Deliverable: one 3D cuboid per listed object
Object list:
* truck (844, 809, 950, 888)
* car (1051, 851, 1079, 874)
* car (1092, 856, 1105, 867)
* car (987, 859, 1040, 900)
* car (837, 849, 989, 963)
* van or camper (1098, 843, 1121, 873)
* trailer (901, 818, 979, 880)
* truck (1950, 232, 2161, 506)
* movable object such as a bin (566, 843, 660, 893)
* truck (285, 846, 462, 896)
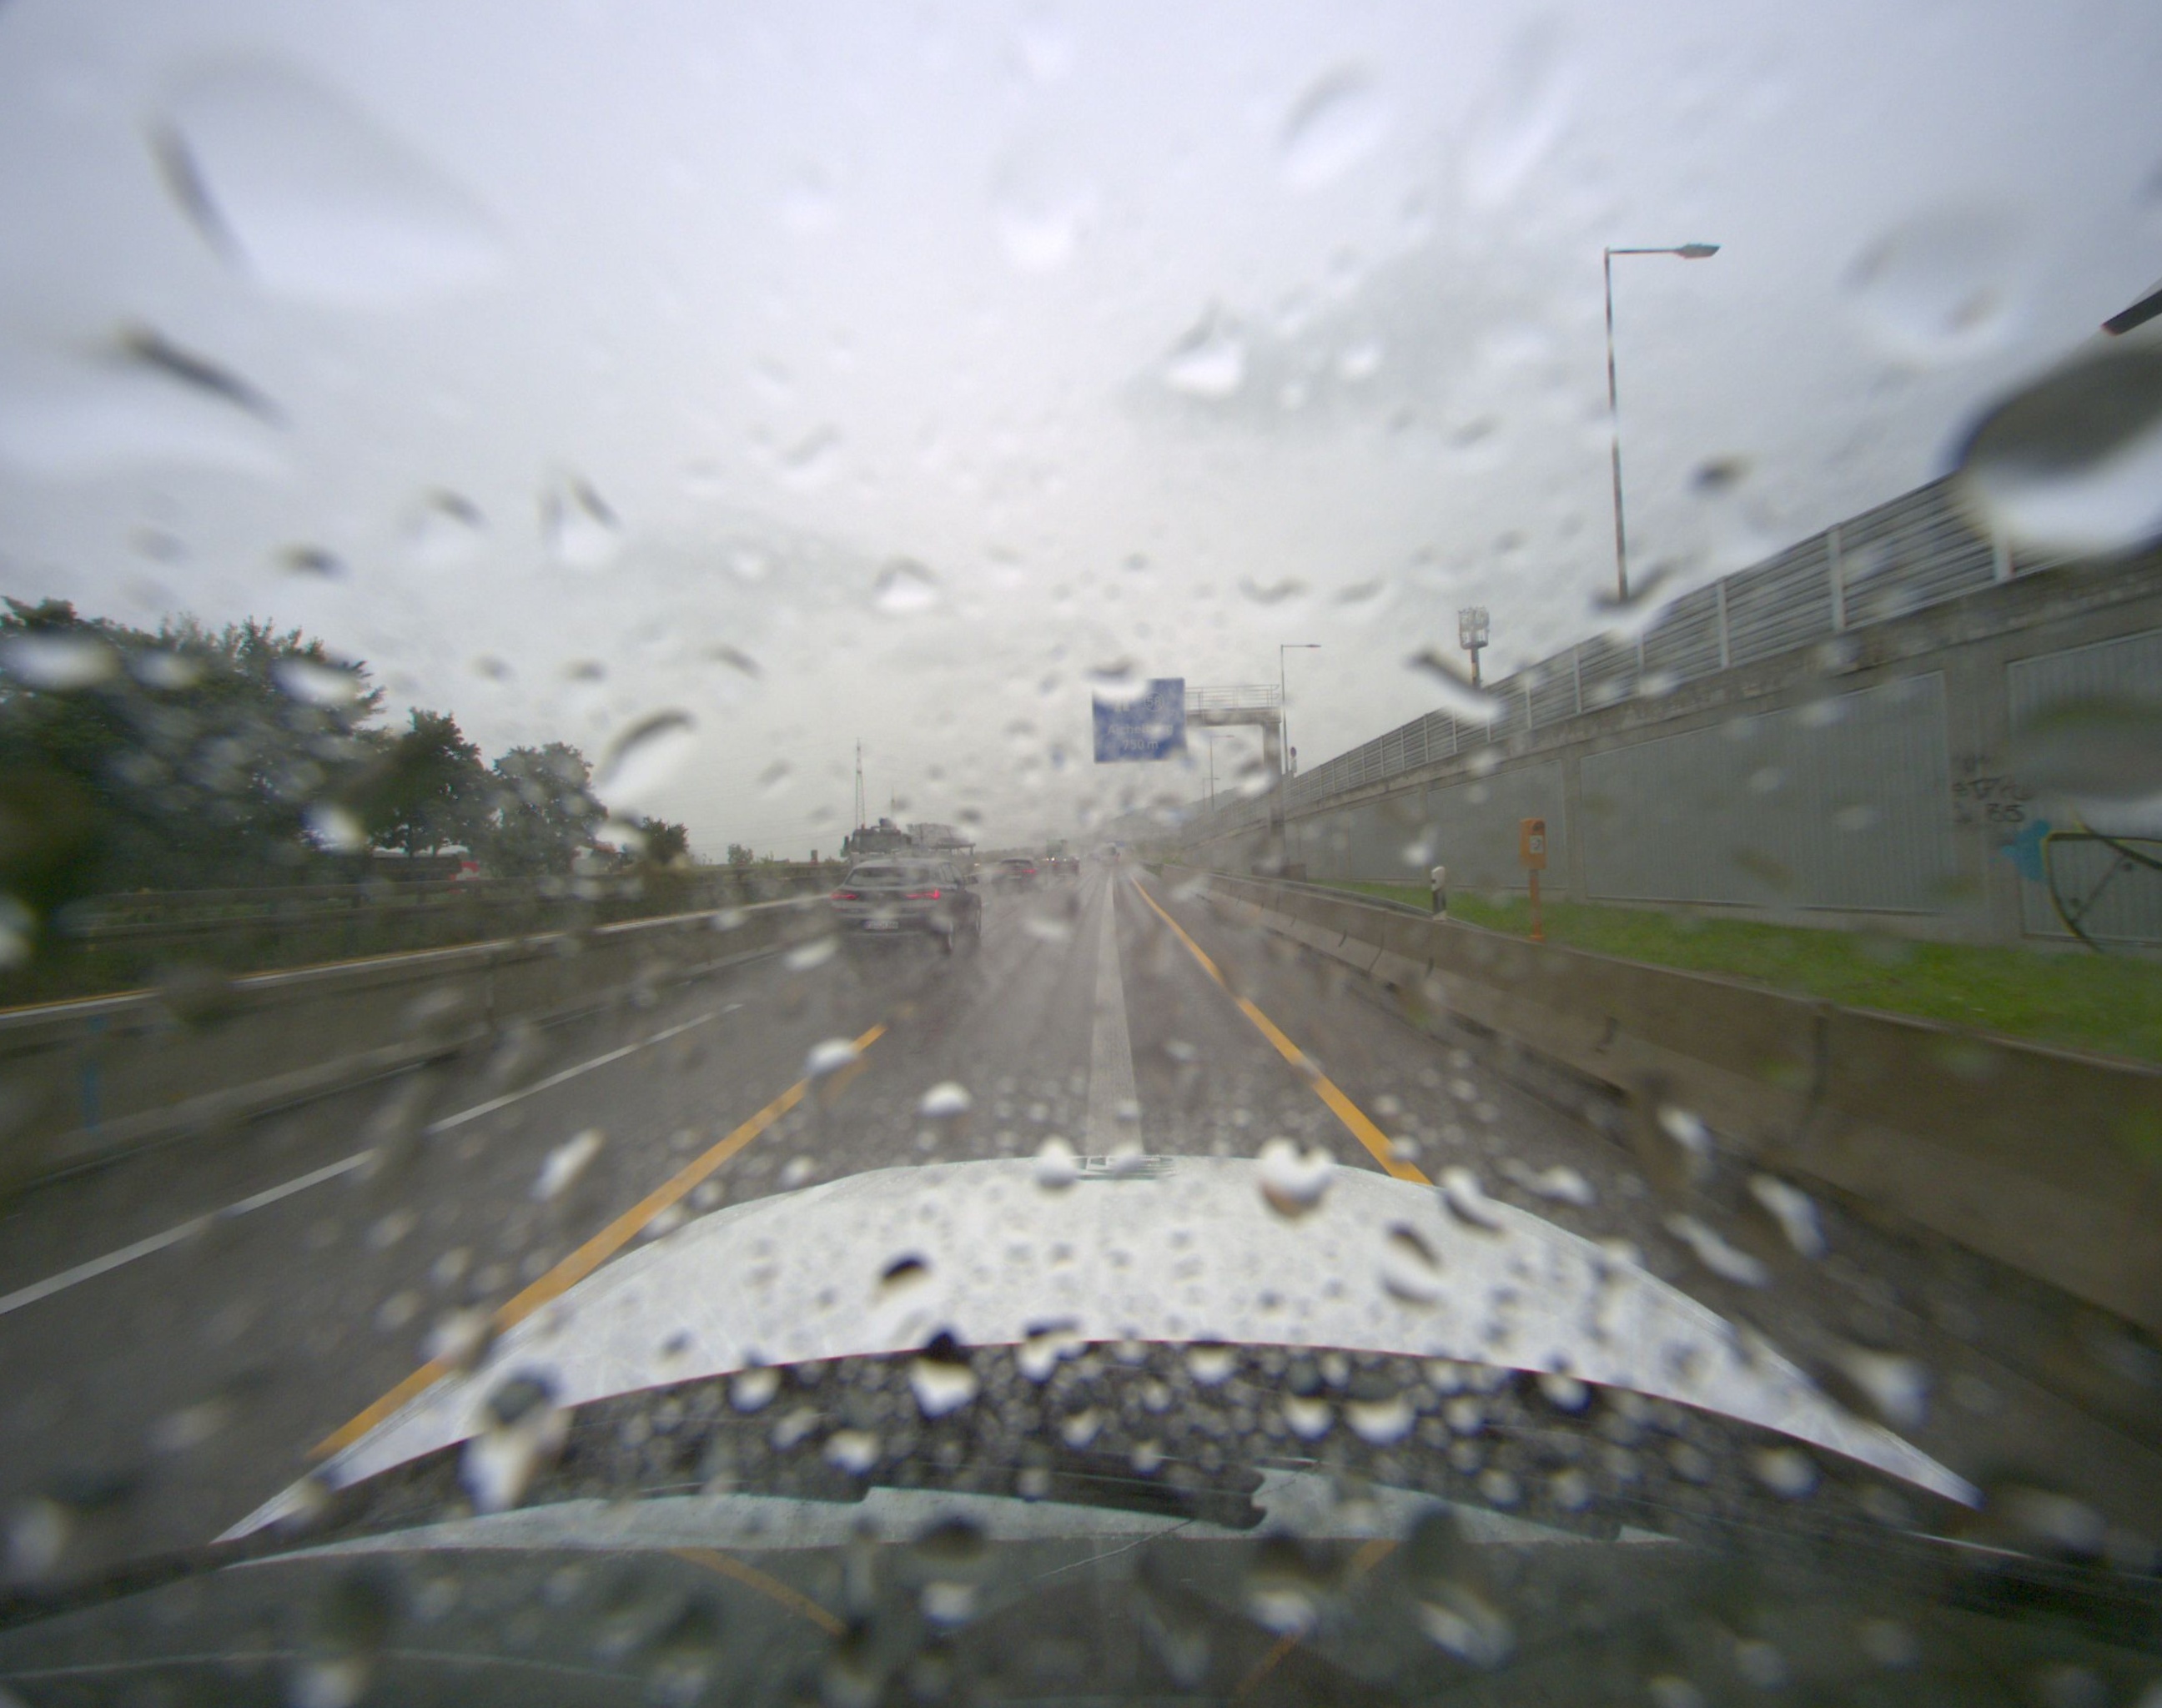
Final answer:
[{"bbox_3d":[-8.688,-0.231,39.794,2.629,3.347,9.558,-1,0,2],"label":"truck"},{"bbox_3d":[-1.153,0.577,58.598,1.839,1.491,4.259,-4,0,-1],"label":"car"},{"bbox_3d":[2.662,1.111,122.505,1.564,1.480,2.817,-4,-2,-4],"label":"car"},{"bbox_3d":[-2.621,0.998,32.517,1.839,1.491,4.259,-1,-1,-1],"label":"car"},{"bbox_3d":[-2.667,0.795,14.053,1.696,1.598,4.842,-1,-1,-1],"label":"car"},{"bbox_3d":[2.774,0.425,80.581,1.990,2.777,4.047,-1,-1,-1],"label":"van or camper"},{"bbox_3d":[-8.334,-0.275,49.450,2.651,3.362,9.720,-1,0,2],"label":"trailer"},{"bbox_3d":[12.888,-5.840,9.130,1.986,2.014,4.060,-1,-1,2],"label":"truck"},{"bbox_3d":[-39.326,1.241,68.847,2.719,3.920,8.466,-1,-1,2],"label":"movable object such as a bin"},{"bbox_3d":[-42.324,0.958,49.260,2.504,2.704,8.910,-1,0,3],"label":"truck"}]
